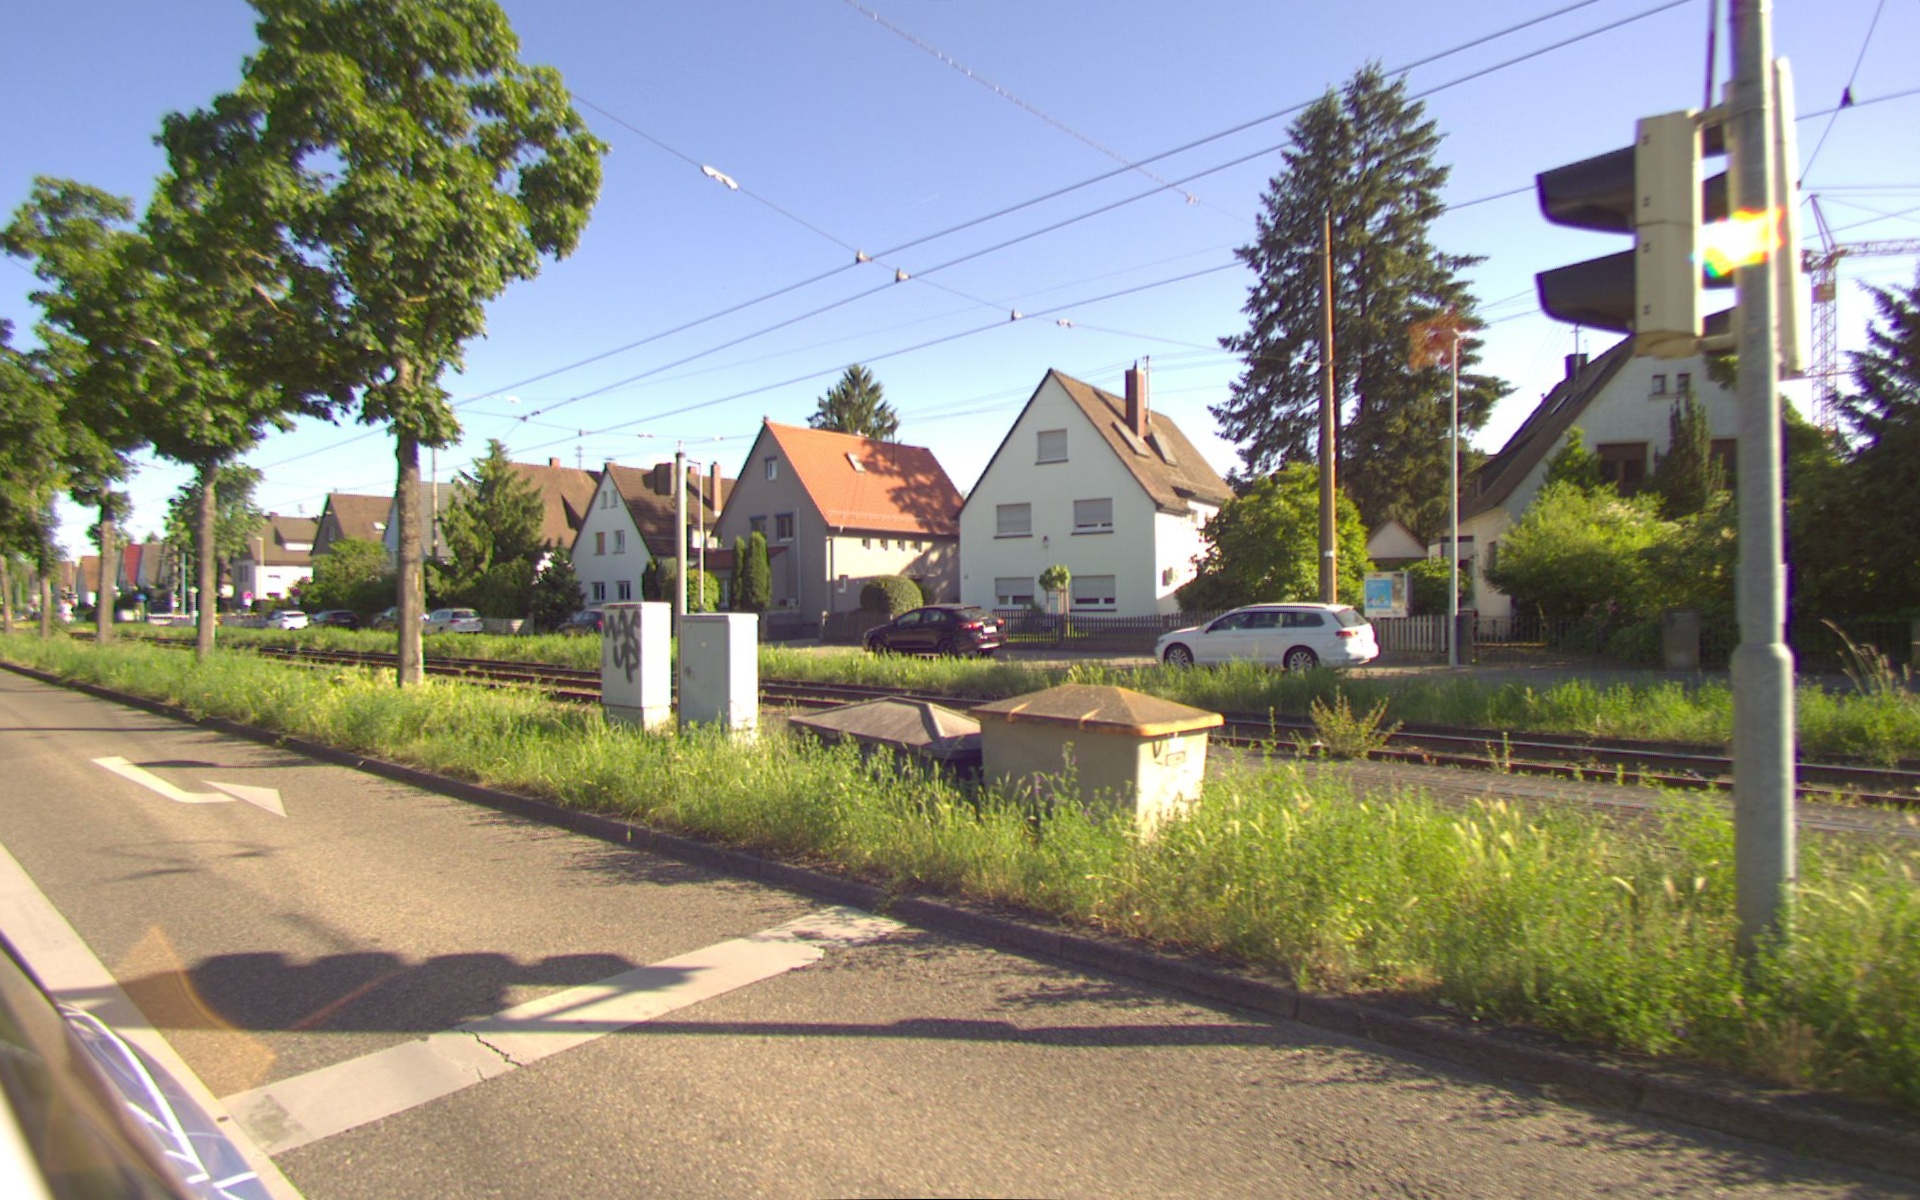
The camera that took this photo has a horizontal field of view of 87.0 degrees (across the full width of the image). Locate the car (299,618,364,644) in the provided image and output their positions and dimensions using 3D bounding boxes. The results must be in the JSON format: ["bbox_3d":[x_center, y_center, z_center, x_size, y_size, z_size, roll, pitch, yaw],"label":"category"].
[{"bbox_3d":[-37.797,1.829,60.829,4.980,1.351,1.973,0,1,42],"label":"car"}]

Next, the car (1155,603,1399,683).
[{"bbox_3d":[6.668,0.832,21.580,4.611,1.483,1.865,0,1,40],"label":"car"}]

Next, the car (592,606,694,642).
[{"bbox_3d":[-15.136,1.107,48.513,1.746,1.481,4.433,-1,2,39],"label":"car"}]

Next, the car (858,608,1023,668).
[{"bbox_3d":[-0.597,0.982,27.796,4.439,1.477,1.887,0,1,41],"label":"car"}]

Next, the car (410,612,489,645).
[{"bbox_3d":[-25.191,1.391,49.871,4.837,1.483,1.864,-1,1,42],"label":"car"}]

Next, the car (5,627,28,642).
[{"bbox_3d":[-114.236,4.198,122.536,3.999,1.696,1.762,-1,0,42],"label":"car"}]

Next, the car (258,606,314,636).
[{"bbox_3d":[-44.453,1.351,66.732,4.582,1.877,1.972,-1,0,42],"label":"car"}]

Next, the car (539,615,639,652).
[{"bbox_3d":[-14.751,1.296,40.162,4.309,1.382,1.972,-1,0,42],"label":"car"}]

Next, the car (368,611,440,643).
[{"bbox_3d":[-29.161,1.392,53.002,4.535,1.572,1.864,-1,1,41],"label":"car"}]
